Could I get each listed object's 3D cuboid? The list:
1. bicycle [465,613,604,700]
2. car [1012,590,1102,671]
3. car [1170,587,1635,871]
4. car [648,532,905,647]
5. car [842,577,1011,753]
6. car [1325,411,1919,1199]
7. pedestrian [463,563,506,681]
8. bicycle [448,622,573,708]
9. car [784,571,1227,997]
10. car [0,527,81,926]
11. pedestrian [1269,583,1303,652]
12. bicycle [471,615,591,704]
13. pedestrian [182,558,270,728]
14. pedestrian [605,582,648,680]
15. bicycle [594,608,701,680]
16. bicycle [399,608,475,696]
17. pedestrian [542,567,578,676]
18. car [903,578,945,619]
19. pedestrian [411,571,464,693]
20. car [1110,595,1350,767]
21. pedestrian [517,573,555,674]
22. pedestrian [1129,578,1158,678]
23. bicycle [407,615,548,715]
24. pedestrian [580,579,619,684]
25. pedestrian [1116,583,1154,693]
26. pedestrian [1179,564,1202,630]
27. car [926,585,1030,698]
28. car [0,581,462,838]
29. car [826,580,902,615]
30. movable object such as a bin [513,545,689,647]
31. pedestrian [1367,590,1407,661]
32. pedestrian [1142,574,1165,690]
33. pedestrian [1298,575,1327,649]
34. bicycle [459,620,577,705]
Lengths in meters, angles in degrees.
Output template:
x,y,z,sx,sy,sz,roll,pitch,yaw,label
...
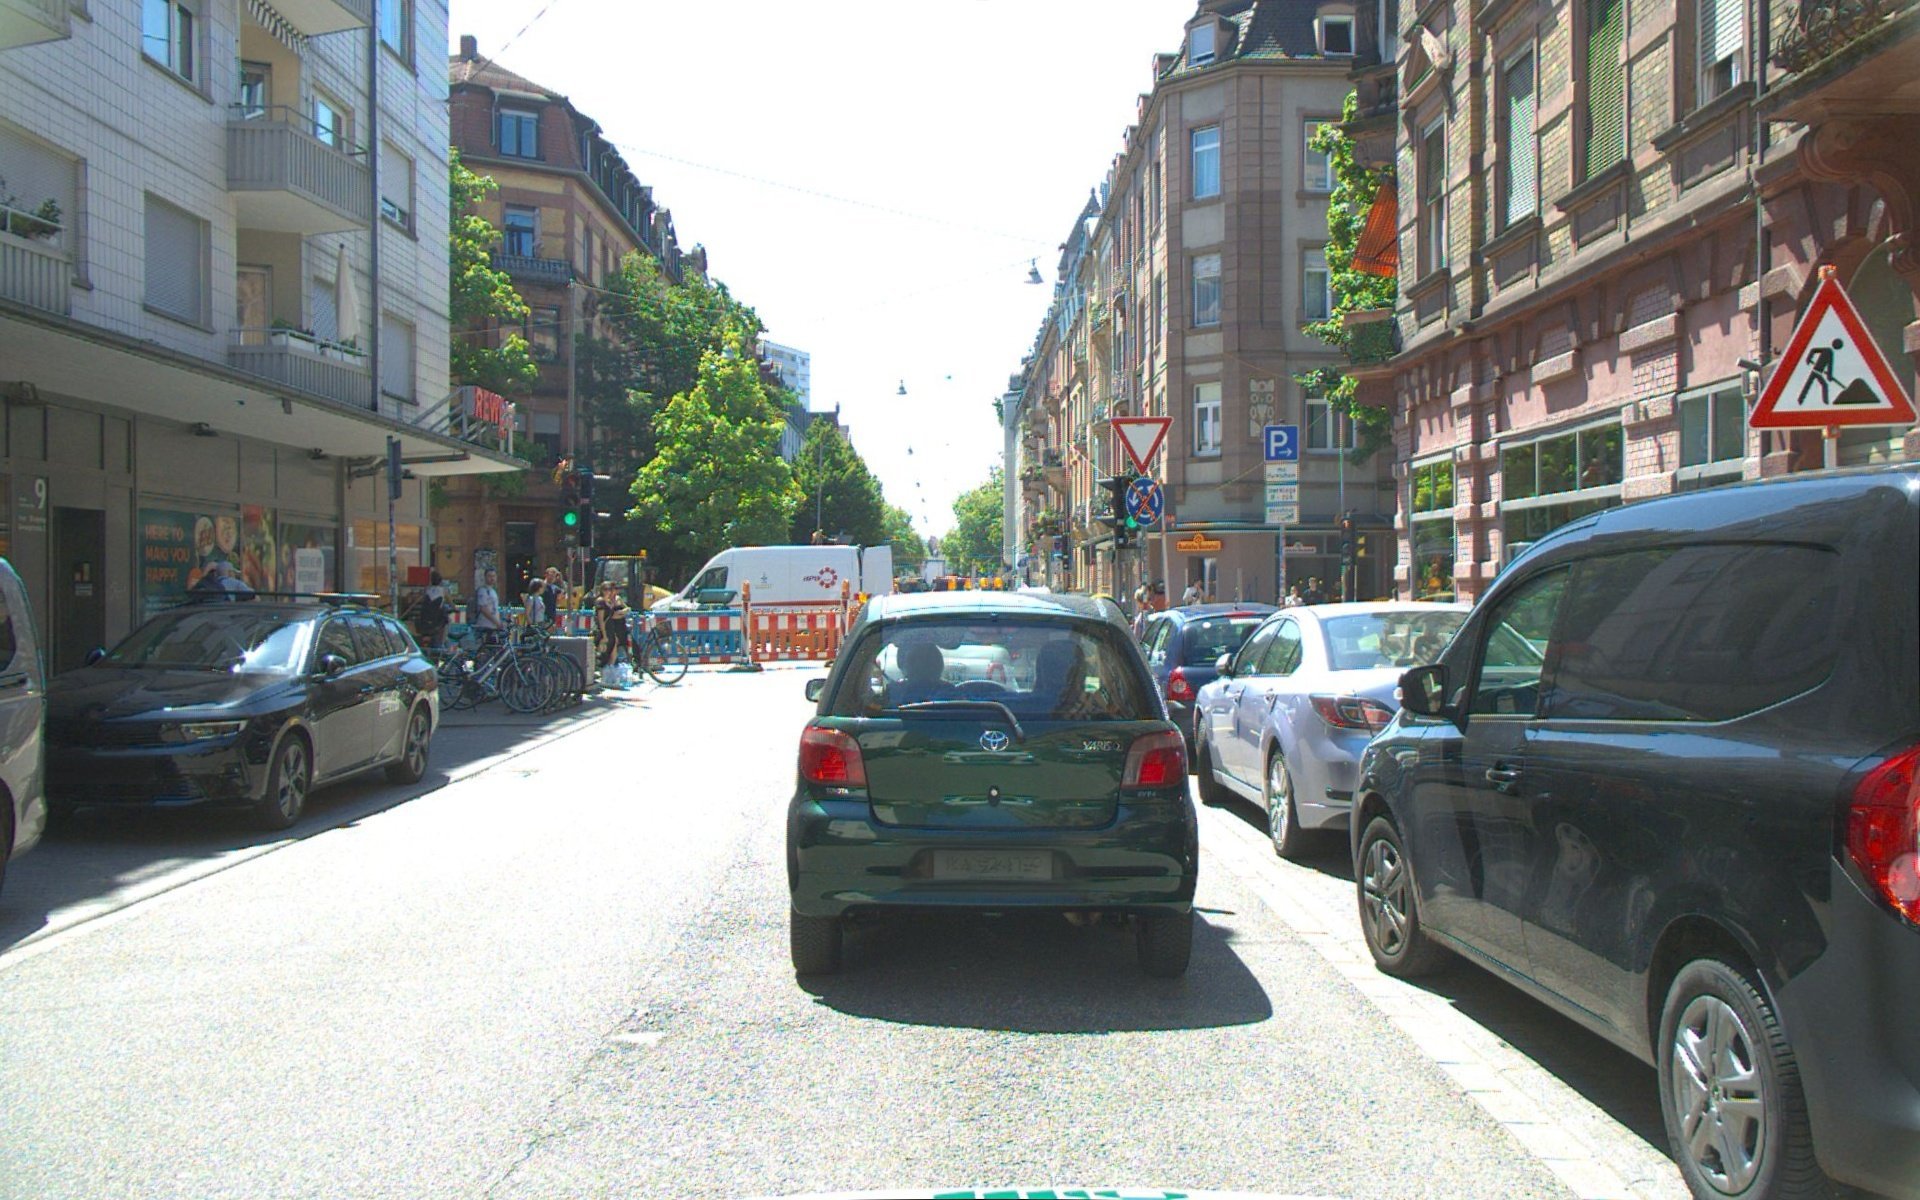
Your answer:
x,y,z,sx,sy,sz,roll,pitch,yaw,label
-5.913,0.784,23.047,1.763,1.142,0.577,2,0,-7,bicycle
1.960,0.558,32.460,1.593,1.457,3.663,-1,0,6,car
2.635,0.675,10.999,1.691,1.457,4.483,-1,0,-3,car
-4.804,-0.276,44.152,6.486,2.799,2.380,2,0,0,car
-0.328,0.556,16.241,1.491,1.547,3.263,0,0,-1,car
2.641,0.513,5.292,1.788,1.798,4.336,-1,0,-3,car
-7.305,0.333,25.432,0.499,1.801,0.599,0,0,-3,pedestrian
-5.799,0.836,21.364,1.465,1.048,0.397,2,0,-5,bicycle
0.233,0.659,7.588,1.580,1.511,3.242,1,0,2,car
-5.196,0.584,5.963,1.753,1.843,4.696,1,0,-4,car
8.113,0.427,41.202,0.688,1.673,0.422,-3,3,-9,pedestrian
-5.801,0.805,22.391,1.489,1.136,0.335,2,0,-5,bicycle
-7.712,0.442,17.395,0.617,1.757,0.658,0,0,1,pedestrian
-5.578,0.512,27.663,0.486,1.593,0.459,2,1,25,pedestrian
-5.278,0.732,27.921,1.767,1.139,0.468,2,0,21,bicycle
-8.007,0.770,25.392,0.524,1.269,2.012,0,0,-1,bicycle
-6.906,0.363,28.563,0.499,1.852,0.599,0,0,-3,pedestrian
-1.583,-0.080,73.568,1.719,1.674,4.377,-3,0,-1,car
-8.007,0.481,25.373,0.519,1.828,0.938,0,0,-1,pedestrian
2.527,0.702,16.296,1.595,1.457,3.658,-1,0,-3,car
-7.002,0.381,27.346,0.499,1.661,0.599,0,0,-3,pedestrian
2.931,0.450,26.487,0.450,1.587,0.479,0,0,5,pedestrian
-5.945,0.795,20.415,1.553,1.159,0.526,2,0,-5,bicycle
-5.751,0.497,26.390,0.530,1.661,0.511,0,0,-3,pedestrian
2.531,0.544,23.991,0.482,1.570,0.437,-2,0,5,pedestrian
6.254,-0.069,44.887,0.467,1.763,0.872,0,-1,18,pedestrian
0.283,0.578,25.367,1.491,1.620,3.264,0,0,1,car
-5.229,0.659,12.419,1.636,1.551,4.463,1,0,0,car
-6.165,-0.175,106.156,4.506,2.226,1.982,0,0,-28,car
-10.111,-0.107,46.754,4.449,2.705,1.955,2,0,1,movable object such as a bin
10.048,0.587,38.908,0.785,1.652,0.643,0,0,2,pedestrian
2.876,0.469,24.563,0.325,1.705,0.402,0,0,5,pedestrian
8.813,0.291,41.364,0.564,1.799,0.471,-2,3,-9,pedestrian
-5.817,0.825,21.801,1.419,1.054,0.335,2,0,-5,bicycle
